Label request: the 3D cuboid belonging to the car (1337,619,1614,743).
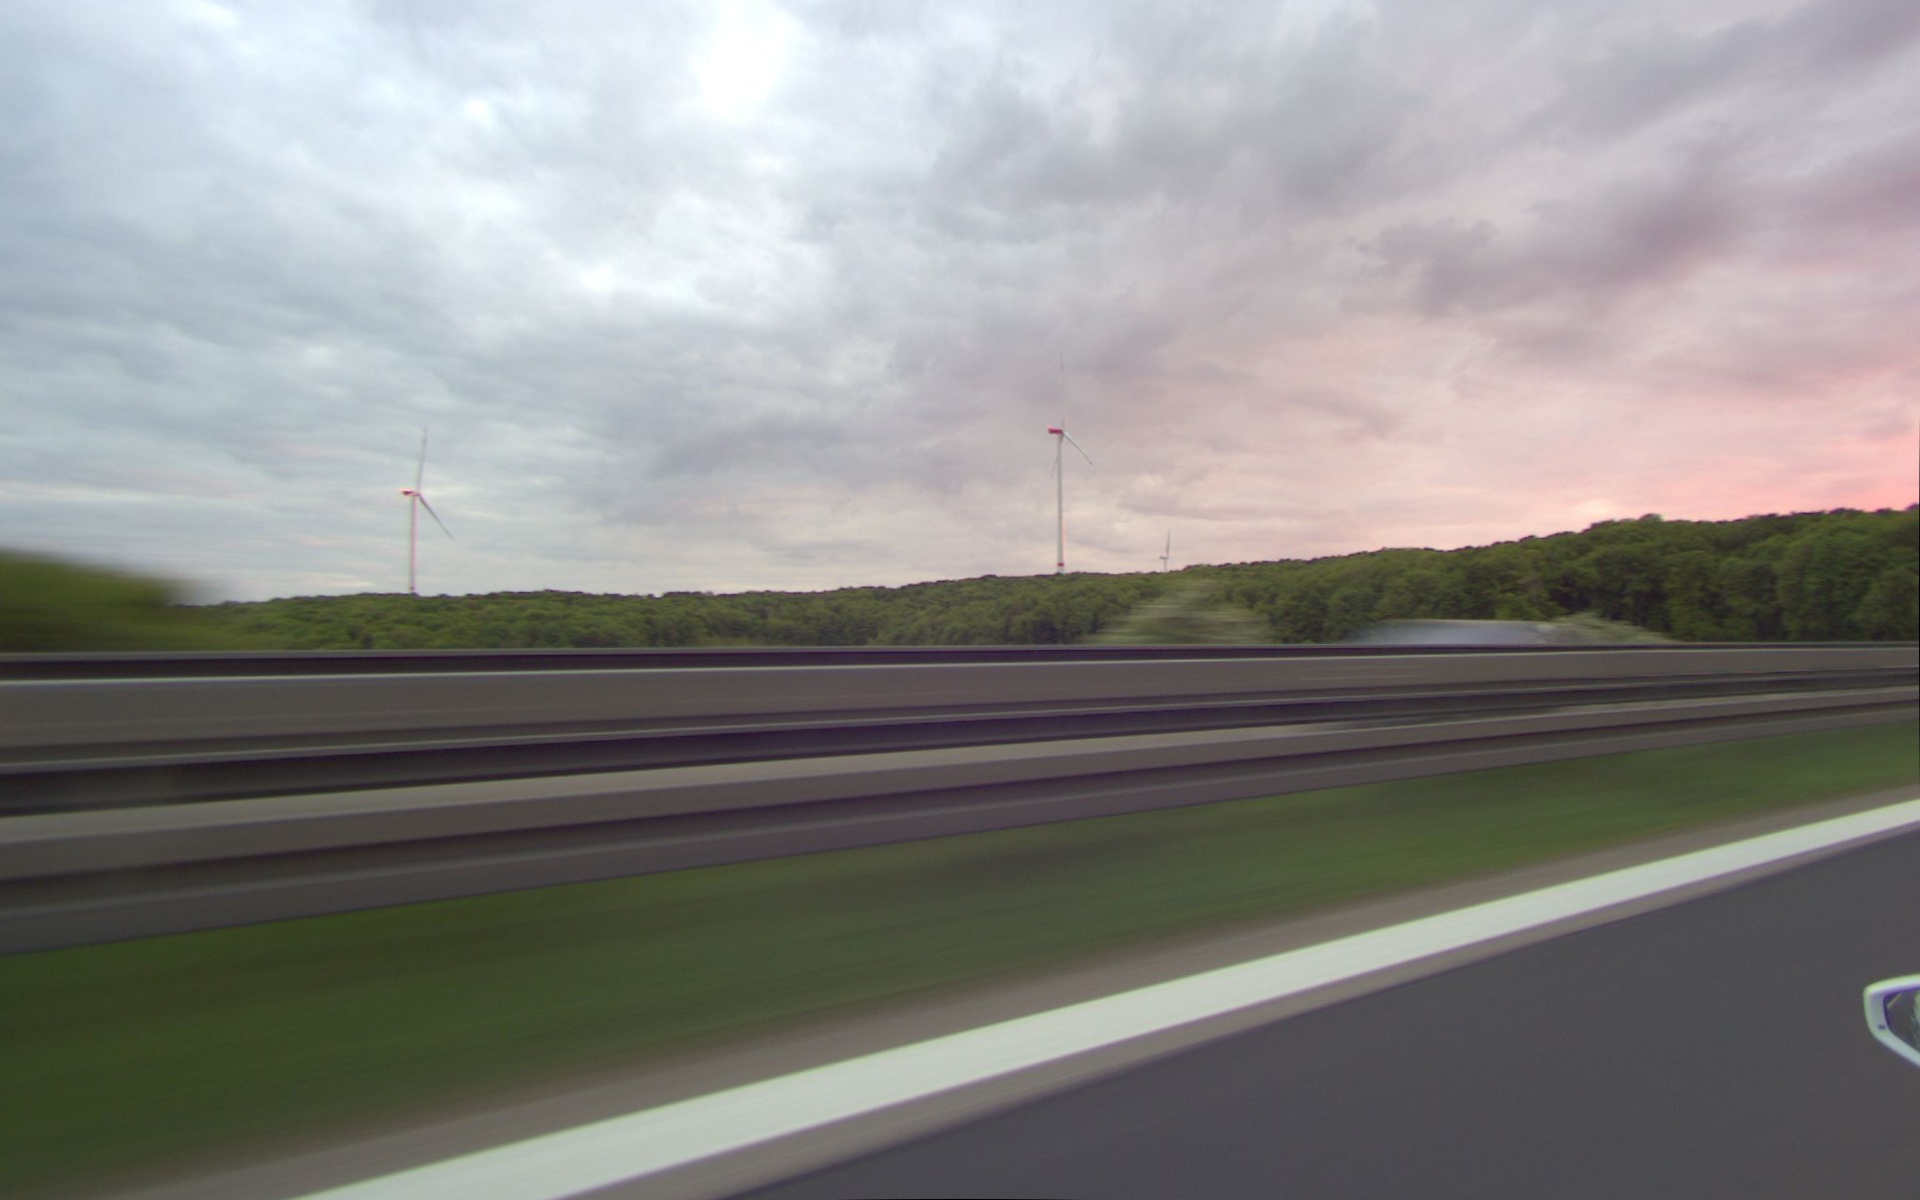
[{"bbox_3d":[7.575,1.090,14.681,3.956,1.535,1.855,1,0,-32],"label":"car"}]
